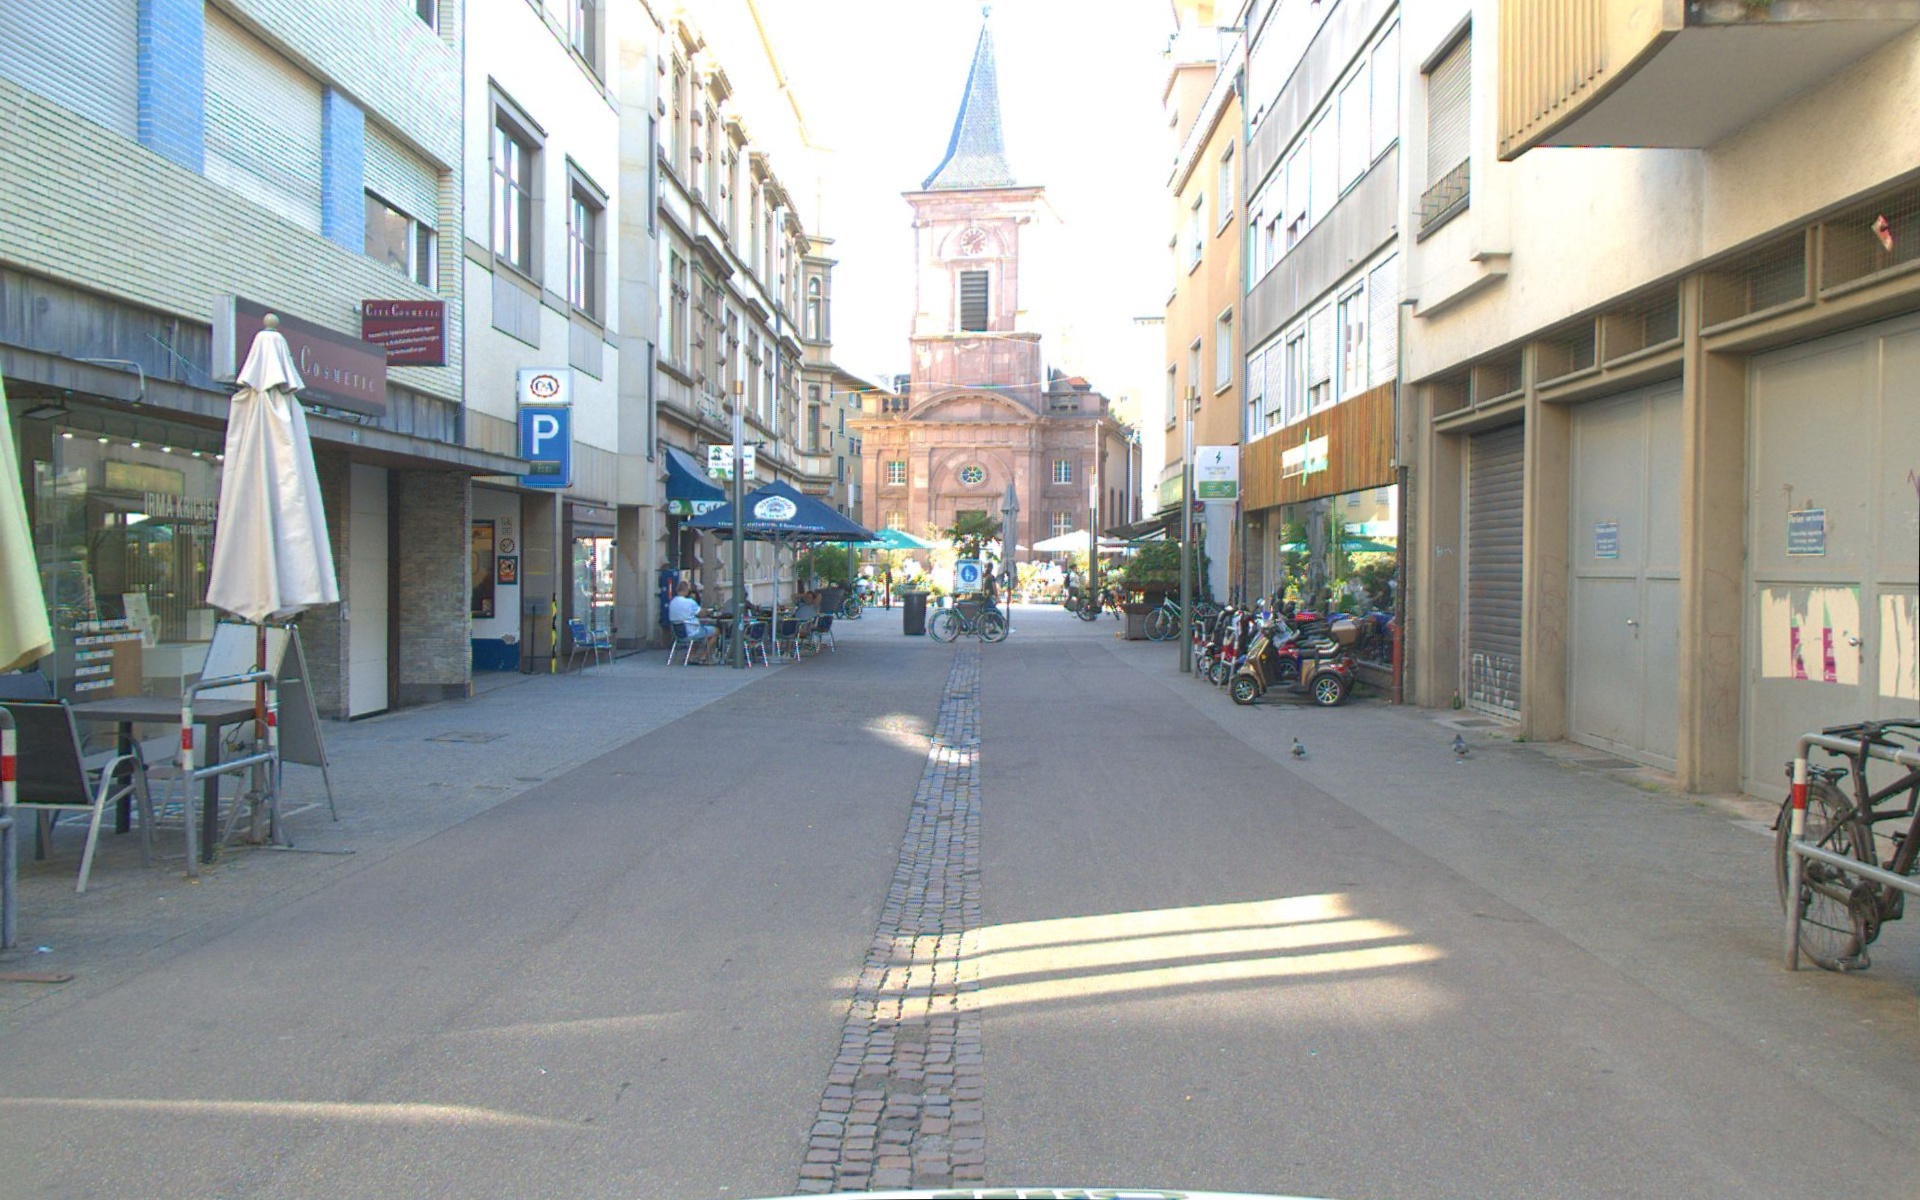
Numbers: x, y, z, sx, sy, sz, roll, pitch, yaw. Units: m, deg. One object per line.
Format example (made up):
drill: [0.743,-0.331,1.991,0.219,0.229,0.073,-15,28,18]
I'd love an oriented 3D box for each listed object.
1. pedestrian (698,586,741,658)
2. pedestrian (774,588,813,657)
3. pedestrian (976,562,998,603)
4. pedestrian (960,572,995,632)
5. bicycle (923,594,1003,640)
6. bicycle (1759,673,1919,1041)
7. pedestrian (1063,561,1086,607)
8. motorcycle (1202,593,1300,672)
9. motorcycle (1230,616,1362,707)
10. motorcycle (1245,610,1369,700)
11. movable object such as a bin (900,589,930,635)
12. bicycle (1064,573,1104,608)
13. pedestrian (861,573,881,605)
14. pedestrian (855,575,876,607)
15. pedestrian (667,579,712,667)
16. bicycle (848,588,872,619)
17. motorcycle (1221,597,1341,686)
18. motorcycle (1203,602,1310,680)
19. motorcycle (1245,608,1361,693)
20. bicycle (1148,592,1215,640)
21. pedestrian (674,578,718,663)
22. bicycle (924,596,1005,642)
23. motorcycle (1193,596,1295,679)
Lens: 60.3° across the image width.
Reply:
pedestrian: [-4.279,0.377,29.457,0.750,1.254,0.830,0,1,-7]
pedestrian: [-3.031,0.410,30.109,0.679,1.236,0.582,0,1,-8]
pedestrian: [1.080,-0.705,66.762,0.606,1.669,0.650,0,1,-35]
pedestrian: [0.447,0.042,41.495,0.865,1.489,0.731,0,1,1]
bicycle: [0.067,0.386,37.377,1.787,1.022,0.381,0,1,-3]
bicycle: [3.436,0.879,5.953,0.437,1.160,1.711,1,0,6]
pedestrian: [4.017,-0.565,58.096,0.767,1.583,0.535,0,1,5]
motorcycle: [4.508,0.494,25.611,1.452,1.202,0.412,0,0,16]
motorcycle: [4.051,0.730,19.959,1.531,1.060,0.373,0,0,19]
motorcycle: [4.338,0.673,20.694,1.485,1.094,0.412,0,0,19]
movable object such as a bin: [-1.095,0.292,40.255,0.706,1.093,0.374,0,1,-1]
bicycle: [4.708,-0.361,62.874,1.568,1.330,0.362,0,1,-29]
pedestrian: [-3.499,-0.430,64.881,0.685,1.239,0.720,0,1,6]
pedestrian: [-3.618,-0.344,63.451,0.685,1.239,0.720,0,1,6]
pedestrian: [-4.364,0.359,26.663,0.695,1.392,0.718,0,1,-12]
bicycle: [-2.978,0.089,49.443,0.447,0.864,2.148,0,1,4]
motorcycle: [4.448,0.561,22.935,1.590,1.195,0.481,0,0,19]
motorcycle: [4.241,0.581,23.665,1.452,1.094,0.412,0,0,19]
motorcycle: [4.501,0.652,21.718,1.452,1.094,0.412,0,0,19]
bicycle: [4.883,0.348,36.479,1.432,1.022,0.573,0,1,7]
pedestrian: [-4.411,0.326,27.598,0.705,1.392,0.708,0,1,-12]
bicycle: [0.089,0.420,36.966,1.787,1.022,0.381,0,1,-3]
motorcycle: [4.220,0.545,24.559,1.452,1.202,0.412,0,0,16]
